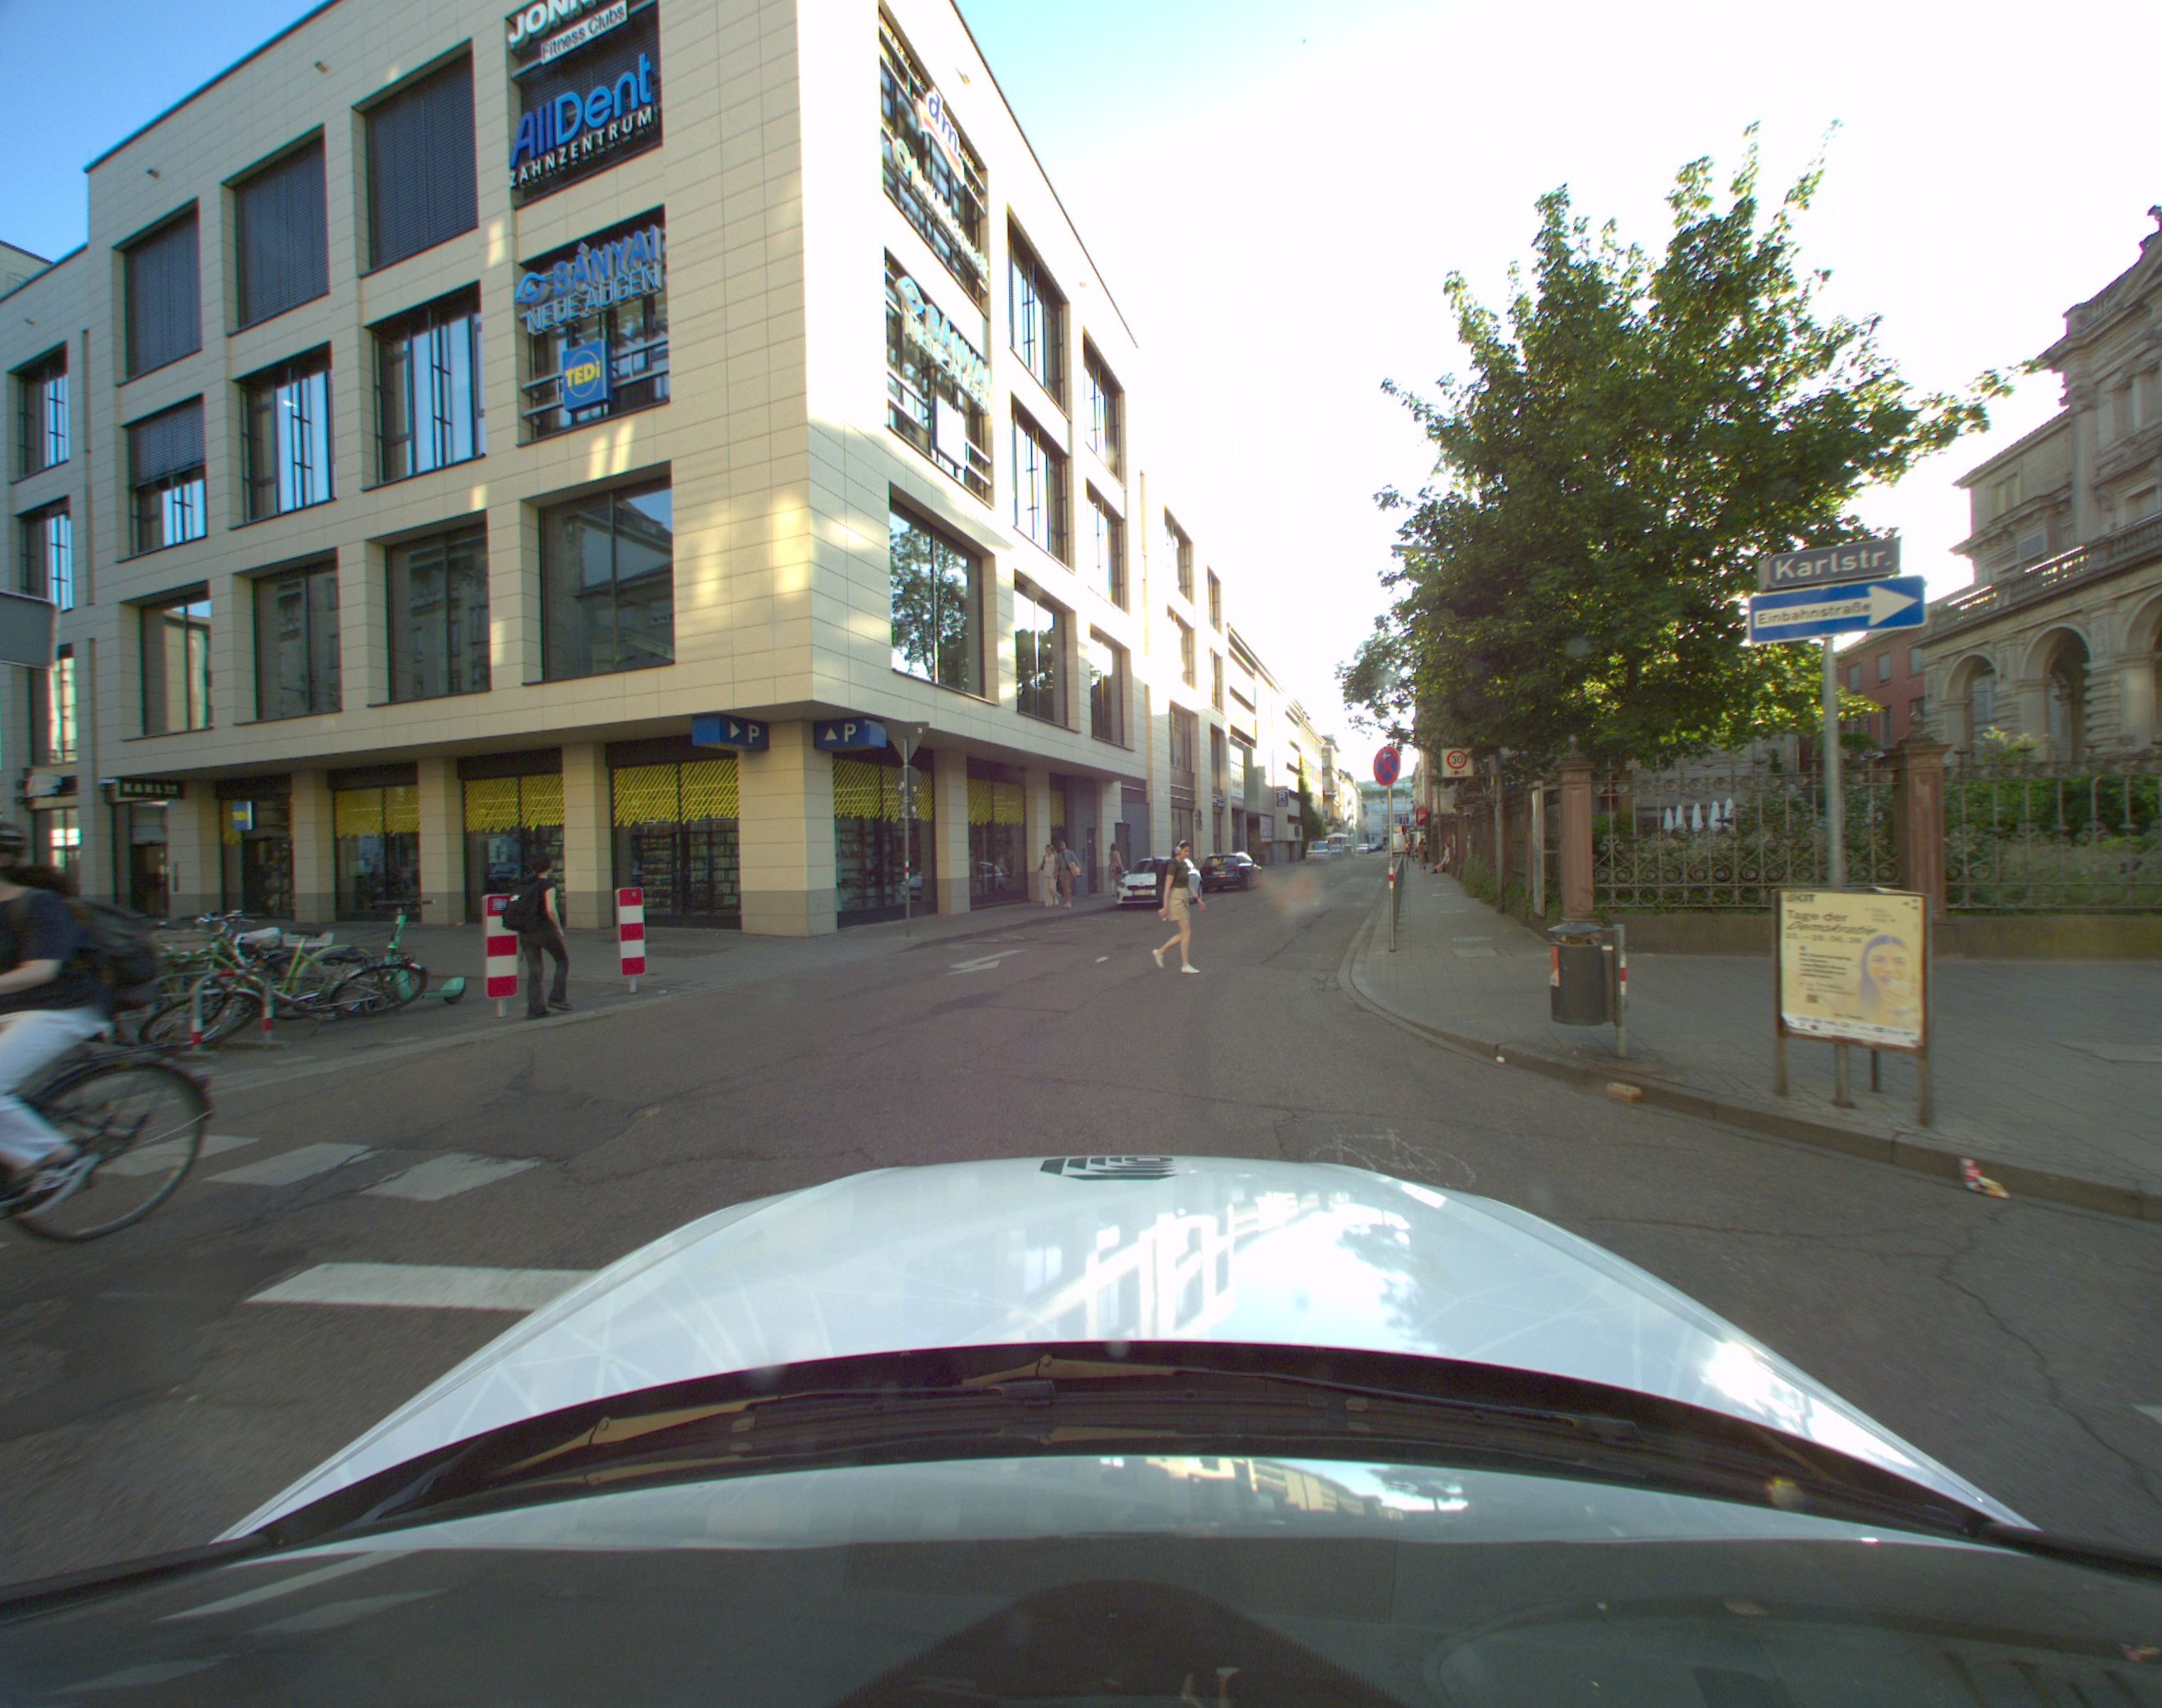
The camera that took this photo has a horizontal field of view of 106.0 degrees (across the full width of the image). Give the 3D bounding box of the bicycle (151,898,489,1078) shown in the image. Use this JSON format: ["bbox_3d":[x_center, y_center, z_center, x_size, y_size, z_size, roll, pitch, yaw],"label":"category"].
[{"bbox_3d":[-6.608,1.073,7.278,0.658,1.255,2.151,-1,-1,18],"label":"bicycle"}]

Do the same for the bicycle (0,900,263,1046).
[{"bbox_3d":[-9.935,1.155,8.468,0.507,1.255,1.988,-1,-1,19],"label":"bicycle"}]

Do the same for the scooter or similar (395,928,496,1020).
[{"bbox_3d":[-6.890,1.284,8.852,0.383,0.884,0.774,-1,-1,20],"label":"scooter or similar"}]

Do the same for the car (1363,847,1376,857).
[{"bbox_3d":[51.180,-0.337,144.218,1.976,1.684,4.021,-1,-1,22],"label":"car"}]

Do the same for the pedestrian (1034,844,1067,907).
[{"bbox_3d":[-0.818,0.564,21.914,0.666,1.675,0.650,-1,0,19],"label":"pedestrian"}]

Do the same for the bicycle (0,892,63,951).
[{"bbox_3d":[-23.886,1.507,18.333,1.956,1.255,0.616,-1,-1,21],"label":"bicycle"}]

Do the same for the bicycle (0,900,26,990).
[{"bbox_3d":[-15.640,1.282,10.778,0.507,1.255,1.989,-1,-1,20],"label":"bicycle"}]

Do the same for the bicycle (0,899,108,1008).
[{"bbox_3d":[-13.202,1.216,9.716,0.507,1.255,1.988,-1,-1,18],"label":"bicycle"}]

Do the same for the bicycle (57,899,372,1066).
[{"bbox_3d":[-7.959,1.101,7.634,0.507,1.255,1.988,-1,-1,18],"label":"bicycle"}]

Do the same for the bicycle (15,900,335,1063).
[{"bbox_3d":[-8.545,1.122,7.827,0.507,1.255,1.989,-1,-1,22],"label":"bicycle"}]

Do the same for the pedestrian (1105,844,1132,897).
[{"bbox_3d":[1.249,0.538,26.931,0.666,1.744,0.651,-1,0,22],"label":"pedestrian"}]

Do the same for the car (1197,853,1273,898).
[{"bbox_3d":[6.094,0.786,31.841,1.866,1.598,4.716,-1,0,24],"label":"car"}]

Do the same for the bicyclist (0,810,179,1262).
[{"bbox_3d":[-4.082,0.637,2.949,0.654,1.570,0.865,-1,-1,7],"label":"bicyclist"}]

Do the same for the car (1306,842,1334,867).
[{"bbox_3d":[19.954,0.025,67.763,1.867,1.912,4.772,-1,0,20],"label":"car"}]

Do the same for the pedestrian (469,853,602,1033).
[{"bbox_3d":[-5.313,0.825,7.978,0.612,1.658,0.875,-1,0,12],"label":"pedestrian"}]

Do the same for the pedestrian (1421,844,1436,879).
[{"bbox_3d":[17.011,0.355,39.862,0.480,1.658,0.621,-3,-1,15],"label":"pedestrian"}]

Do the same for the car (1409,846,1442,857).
[{"bbox_3d":[44.766,-0.304,105.918,3.952,1.420,1.665,-1,-1,22],"label":"car"}]

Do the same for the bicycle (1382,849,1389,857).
[{"bbox_3d":[51.740,-0.164,138.319,0.967,1.280,2.769,-1,-1,22],"label":"bicycle"}]

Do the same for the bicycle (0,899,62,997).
[{"bbox_3d":[-14.491,1.238,10.262,0.507,1.255,1.989,-1,-1,20],"label":"bicycle"}]

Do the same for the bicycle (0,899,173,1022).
[{"bbox_3d":[-11.724,1.181,9.149,0.507,1.255,1.989,-1,-1,20],"label":"bicycle"}]

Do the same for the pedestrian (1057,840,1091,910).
[{"bbox_3d":[-0.182,0.545,21.674,0.666,1.836,0.650,-1,0,19],"label":"pedestrian"}]

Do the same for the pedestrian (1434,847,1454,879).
[{"bbox_3d":[17.558,0.419,39.363,0.743,1.500,0.621,-3,-1,16],"label":"pedestrian"}]

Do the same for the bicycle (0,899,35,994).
[{"bbox_3d":[-15.069,1.259,10.430,0.507,1.255,1.989,-1,-1,20],"label":"bicycle"}]

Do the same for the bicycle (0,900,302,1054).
[{"bbox_3d":[-9.215,1.135,8.170,0.507,1.255,1.989,-1,-1,20],"label":"bicycle"}]

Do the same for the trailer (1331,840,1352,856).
[{"bbox_3d":[27.833,-0.607,86.918,1.977,1.557,4.020,-1,-1,20],"label":"trailer"}]

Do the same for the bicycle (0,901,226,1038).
[{"bbox_3d":[-10.551,1.174,8.650,0.507,1.255,1.989,-1,-1,20],"label":"bicycle"}]

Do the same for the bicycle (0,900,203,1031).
[{"bbox_3d":[-11.070,1.184,8.876,0.507,1.255,1.989,-1,-1,20],"label":"bicycle"}]

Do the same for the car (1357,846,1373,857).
[{"bbox_3d":[42.900,-0.369,123.024,1.976,1.684,4.021,-1,-1,22],"label":"car"}]

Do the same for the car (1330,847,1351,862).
[{"bbox_3d":[26.400,0.015,82.846,1.867,1.453,4.020,-1,0,20],"label":"car"}]

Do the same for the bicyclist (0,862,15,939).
[{"bbox_3d":[-24.315,1.043,18.030,0.637,1.695,0.688,-1,0,22],"label":"bicyclist"}]

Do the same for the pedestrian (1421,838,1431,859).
[{"bbox_3d":[27.505,-0.432,64.962,0.656,1.666,0.627,-3,-1,22],"label":"pedestrian"}]

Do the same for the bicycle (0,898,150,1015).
[{"bbox_3d":[-12.404,1.194,9.488,0.507,1.255,1.989,-1,-1,20],"label":"bicycle"}]

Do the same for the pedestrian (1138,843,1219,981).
[{"bbox_3d":[1.282,0.733,10.768,0.640,1.723,0.836,-1,0,-34],"label":"pedestrian"}]

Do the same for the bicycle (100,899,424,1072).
[{"bbox_3d":[-7.344,1.095,7.477,0.576,1.255,2.054,-1,-1,18],"label":"bicycle"}]

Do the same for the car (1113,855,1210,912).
[{"bbox_3d":[2.439,0.800,23.716,1.762,1.453,4.252,-1,0,20],"label":"car"}]

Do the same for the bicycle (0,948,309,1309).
[{"bbox_3d":[-4.068,1.012,2.960,0.660,1.138,1.825,-1,-1,6],"label":"bicycle"}]

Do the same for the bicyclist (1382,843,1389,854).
[{"bbox_3d":[51.691,-0.942,138.236,0.981,1.868,0.712,-1,-1,22],"label":"bicyclist"}]

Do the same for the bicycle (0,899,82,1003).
[{"bbox_3d":[-13.791,1.227,9.922,0.507,1.255,1.989,-1,-1,20],"label":"bicycle"}]

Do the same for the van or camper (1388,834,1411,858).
[{"bbox_3d":[37.931,-0.880,96.793,2.238,2.607,5.139,-6,-2,22],"label":"van or camper"}]

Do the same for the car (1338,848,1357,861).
[{"bbox_3d":[29.872,0.046,91.242,1.867,1.453,4.020,-1,0,20],"label":"car"}]

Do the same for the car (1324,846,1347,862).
[{"bbox_3d":[24.571,0.018,78.440,1.867,1.453,4.020,-1,0,20],"label":"car"}]
